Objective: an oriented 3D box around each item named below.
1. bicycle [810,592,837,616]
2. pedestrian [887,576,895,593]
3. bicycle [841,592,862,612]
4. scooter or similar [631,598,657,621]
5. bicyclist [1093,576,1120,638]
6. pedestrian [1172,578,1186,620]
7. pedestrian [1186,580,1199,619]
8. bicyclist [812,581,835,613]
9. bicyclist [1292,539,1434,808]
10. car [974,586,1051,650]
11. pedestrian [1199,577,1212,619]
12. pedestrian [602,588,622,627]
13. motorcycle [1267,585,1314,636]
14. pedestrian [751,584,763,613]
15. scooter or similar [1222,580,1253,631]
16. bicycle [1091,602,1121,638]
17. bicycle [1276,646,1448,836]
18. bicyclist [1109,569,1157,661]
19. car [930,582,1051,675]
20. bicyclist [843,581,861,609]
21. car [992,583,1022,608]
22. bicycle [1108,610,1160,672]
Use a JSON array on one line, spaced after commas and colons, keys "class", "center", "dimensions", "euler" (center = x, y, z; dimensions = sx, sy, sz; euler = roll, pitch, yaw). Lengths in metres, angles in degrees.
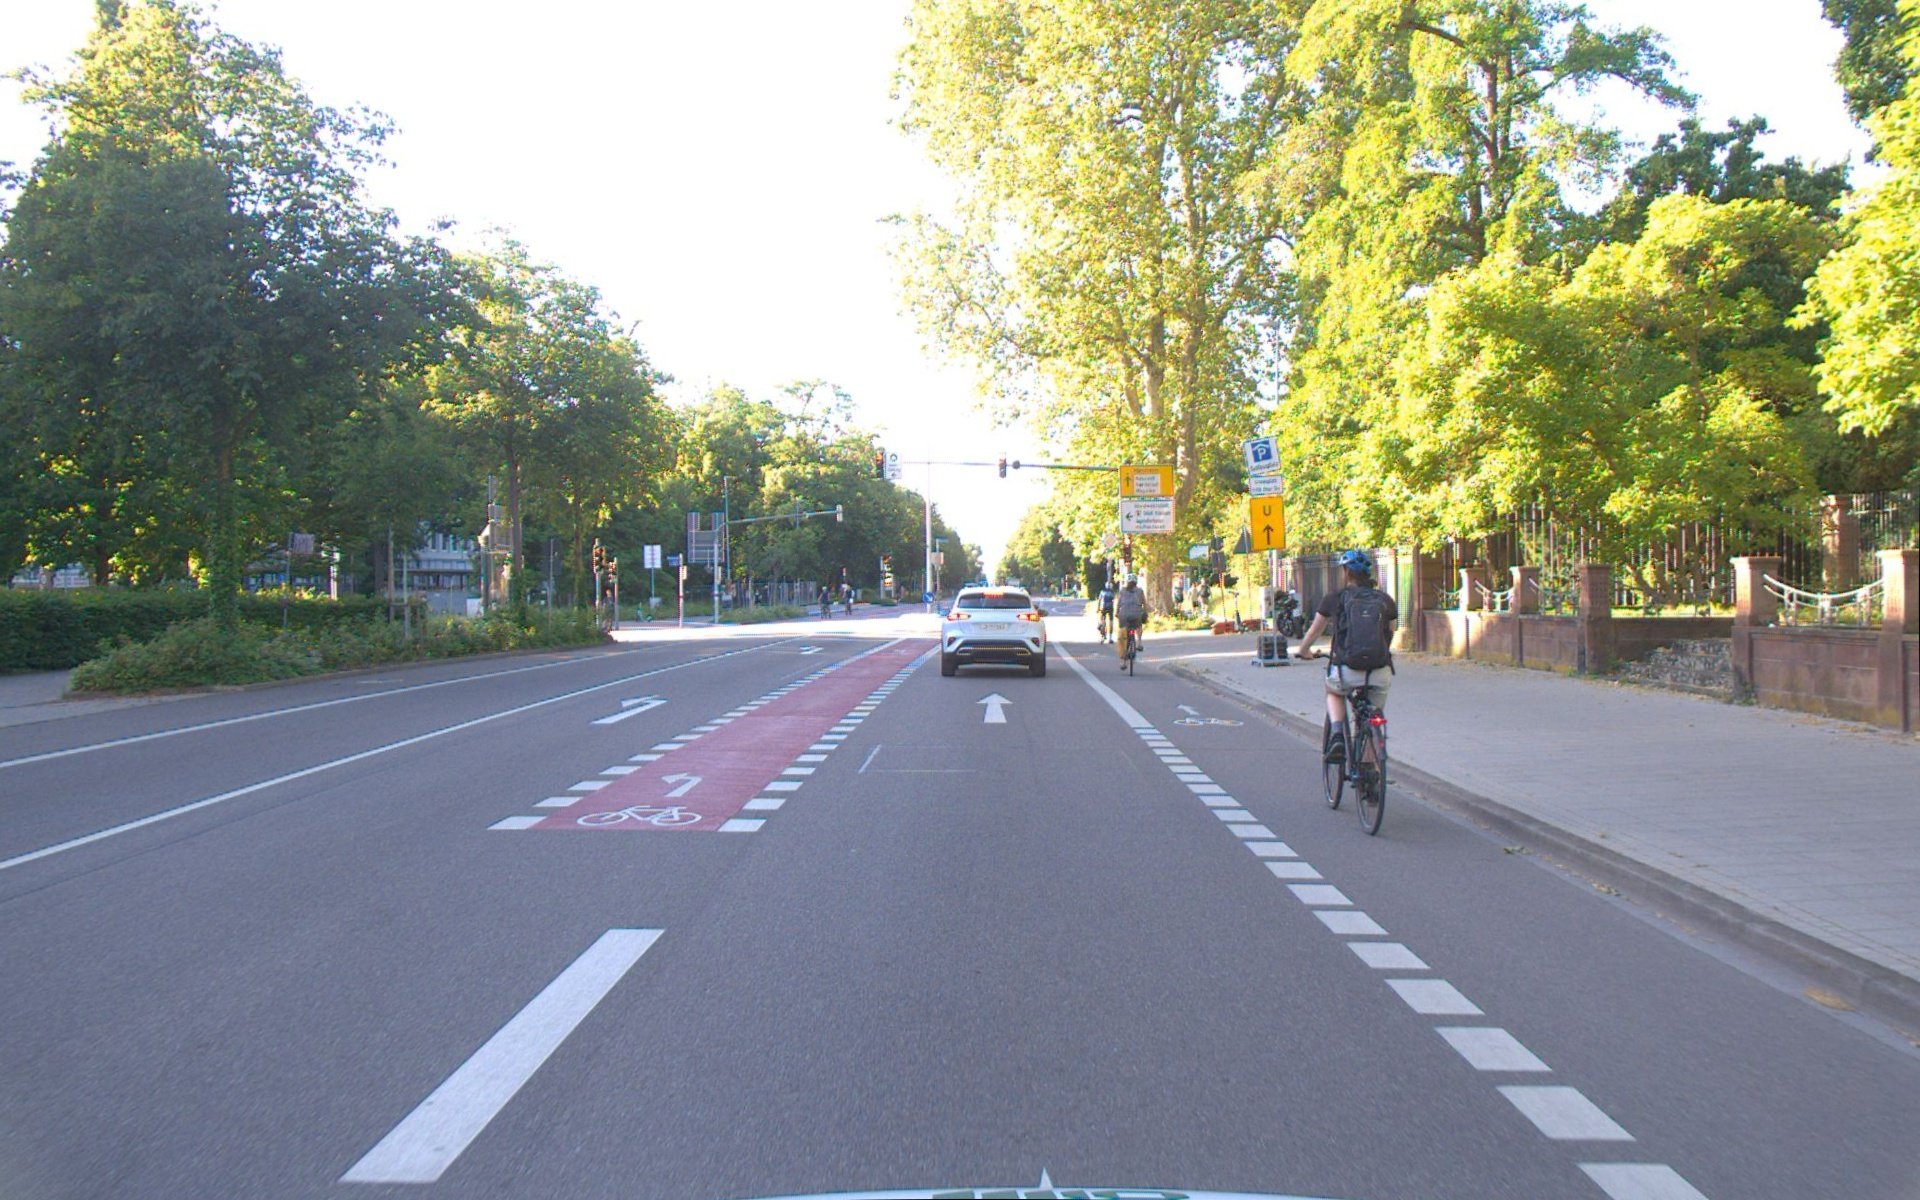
[{"class": "bicycle", "center": [-7.668, 0.204, 93.037], "dimensions": [1.079, 1.277, 2.780], "euler": [-2, 0, 3]}, {"class": "pedestrian", "center": [-9.200, -2.079, 220.992], "dimensions": [0.857, 2.186, 1.104], "euler": [-2, 0, 10]}, {"class": "bicycle", "center": [-6.810, 0.122, 104.275], "dimensions": [0.944, 1.201, 2.952], "euler": [-2, 0, 3]}, {"class": "scooter or similar", "center": [-17.048, 0.490, 89.123], "dimensions": [0.500, 1.164, 1.700], "euler": [-2, 0, 22]}, {"class": "bicyclist", "center": [4.271, 0.207, 48.293], "dimensions": [0.734, 1.780, 0.843], "euler": [0, 0, 0]}, {"class": "pedestrian", "center": [9.760, -0.043, 73.692], "dimensions": [0.472, 1.822, 0.432], "euler": [-4, 3, 7]}, {"class": "pedestrian", "center": [10.357, -0.034, 73.778], "dimensions": [0.472, 1.668, 0.432], "euler": [-4, 3, 7]}, {"class": "bicyclist", "center": [-7.680, -0.168, 93.097], "dimensions": [1.069, 1.785, 1.098], "euler": [-2, 0, 3]}, {"class": "bicyclist", "center": [2.591, 0.444, 10.744], "dimensions": [0.623, 1.642, 1.284], "euler": [0, 0, 1]}, {"class": "car", "center": [1.349, 0.438, 43.520], "dimensions": [1.889, 1.560, 4.000], "euler": [-2, 0, 1]}, {"class": "pedestrian", "center": [11.031, -0.083, 74.385], "dimensions": [0.472, 1.822, 0.432], "euler": [-4, 3, 7]}, {"class": "pedestrian", "center": [-16.830, 0.370, 80.029], "dimensions": [0.673, 1.823, 0.769], "euler": [-4, 1, 1]}, {"class": "motorcycle", "center": [8.106, 0.245, 40.628], "dimensions": [0.648, 1.188, 2.328], "euler": [-4, 0, 1]}, {"class": "pedestrian", "center": [-13.609, -0.123, 110.854], "dimensions": [0.637, 1.921, 0.663], "euler": [-2, 0, 3]}, {"class": "scooter or similar", "center": [7.945, 0.149, 47.408], "dimensions": [0.554, 1.407, 1.856], "euler": [-2, 0, 0]}, {"class": "bicycle", "center": [4.261, 0.587, 48.471], "dimensions": [0.737, 1.044, 1.869], "euler": [0, 0, 1]}, {"class": "bicycle", "center": [2.604, 0.872, 10.951], "dimensions": [0.630, 1.042, 2.213], "euler": [0, 0, 1]}, {"class": "bicyclist", "center": [3.017, 0.255, 28.846], "dimensions": [0.732, 1.564, 0.969], "euler": [-1, 0, 1]}, {"class": "car", "center": [0.536, 0.453, 29.242], "dimensions": [1.952, 1.478, 4.001], "euler": [-2, 0, 1]}, {"class": "bicyclist", "center": [-6.816, -0.318, 104.411], "dimensions": [0.936, 1.735, 1.233], "euler": [-2, 0, 2]}, {"class": "car", "center": [3.121, -0.303, 108.864], "dimensions": [1.700, 1.573, 4.003], "euler": [-1, 1, 4]}, {"class": "bicycle", "center": [3.015, 0.705, 28.873], "dimensions": [0.737, 1.044, 1.869], "euler": [0, 0, 1]}]
